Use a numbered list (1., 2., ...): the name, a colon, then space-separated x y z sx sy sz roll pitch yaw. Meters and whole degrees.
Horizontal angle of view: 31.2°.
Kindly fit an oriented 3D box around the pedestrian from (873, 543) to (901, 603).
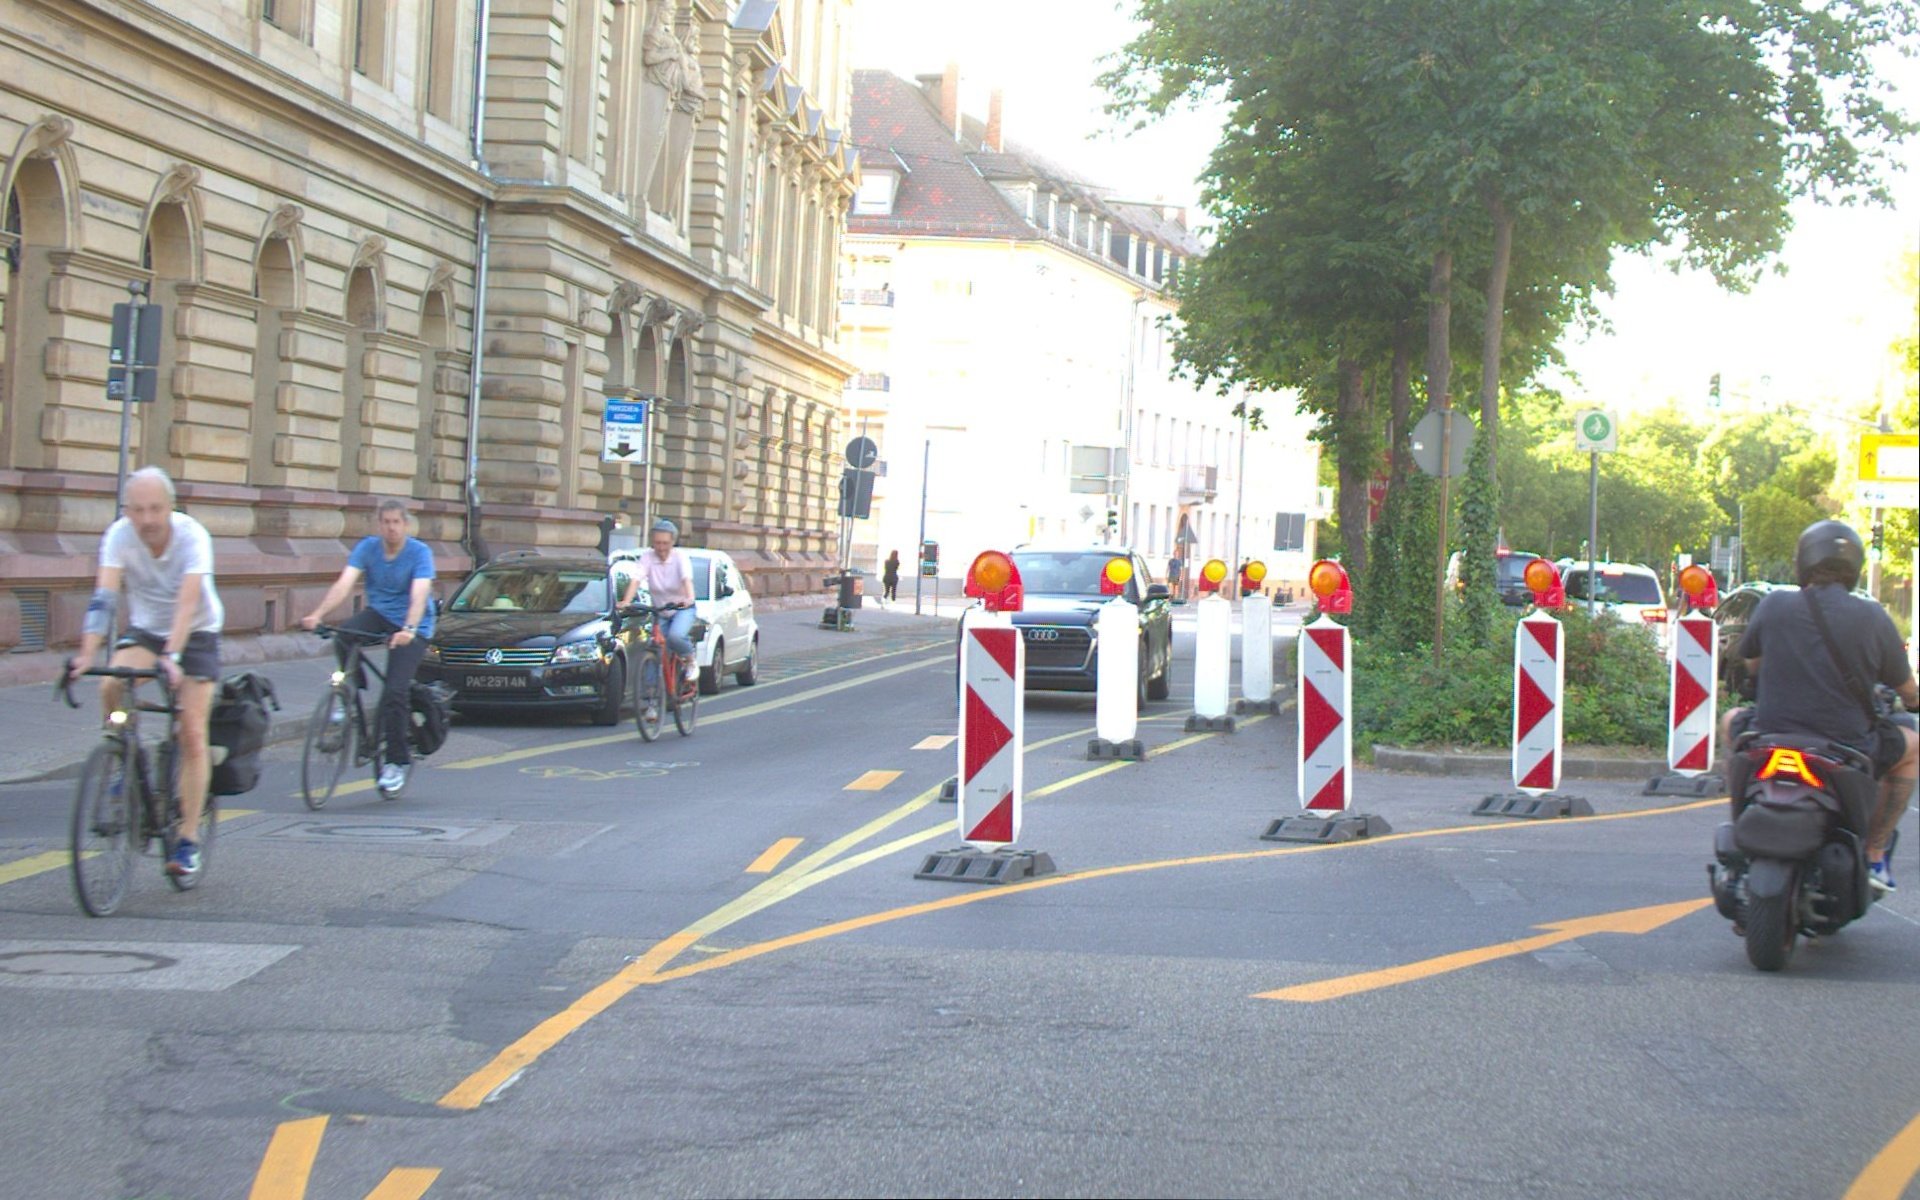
1. pedestrian: -1.916 -0.713 90.601 0.665 1.548 0.649 2 1 1

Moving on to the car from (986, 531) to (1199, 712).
1. car: 1.311 0.169 35.249 1.993 1.689 4.399 2 1 1

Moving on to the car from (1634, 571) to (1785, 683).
1. car: 12.535 0.420 57.701 1.840 1.693 4.057 4 1 4

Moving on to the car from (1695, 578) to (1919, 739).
1. car: 8.969 0.570 35.868 1.840 1.458 4.057 4 1 3

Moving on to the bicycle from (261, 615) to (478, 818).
1. bicycle: -3.307 0.627 19.403 0.533 1.031 1.906 2 1 11

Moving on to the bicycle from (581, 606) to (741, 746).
1. bicycle: -2.372 0.588 27.522 0.533 1.031 2.034 2 1 17

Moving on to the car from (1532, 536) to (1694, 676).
1. car: 9.793 0.061 51.822 1.840 1.906 4.057 4 1 4

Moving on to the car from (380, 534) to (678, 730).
1. car: -3.723 0.225 30.425 1.993 1.561 4.289 2 1 1

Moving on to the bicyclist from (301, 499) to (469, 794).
1. bicyclist: -3.239 0.248 19.420 0.628 1.608 0.869 2 1 11

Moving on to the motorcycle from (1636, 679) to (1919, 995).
1. motorcycle: 3.301 0.864 13.157 0.798 1.062 1.722 4 1 31

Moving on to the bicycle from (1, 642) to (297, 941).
1. bicycle: -3.244 0.732 13.942 0.583 1.031 2.129 2 1 3

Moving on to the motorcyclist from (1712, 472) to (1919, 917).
1. motorcyclist: 3.399 0.354 13.326 0.658 1.645 0.649 4 1 34

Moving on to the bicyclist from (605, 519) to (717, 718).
1. bicyclist: -2.391 0.141 27.573 0.629 1.548 0.731 2 1 17

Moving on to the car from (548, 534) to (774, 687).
1. car: -3.206 0.067 37.623 1.993 1.523 4.184 2 1 1

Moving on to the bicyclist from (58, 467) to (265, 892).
1. bicyclist: -3.232 0.307 13.971 0.566 1.661 0.834 2 1 4
